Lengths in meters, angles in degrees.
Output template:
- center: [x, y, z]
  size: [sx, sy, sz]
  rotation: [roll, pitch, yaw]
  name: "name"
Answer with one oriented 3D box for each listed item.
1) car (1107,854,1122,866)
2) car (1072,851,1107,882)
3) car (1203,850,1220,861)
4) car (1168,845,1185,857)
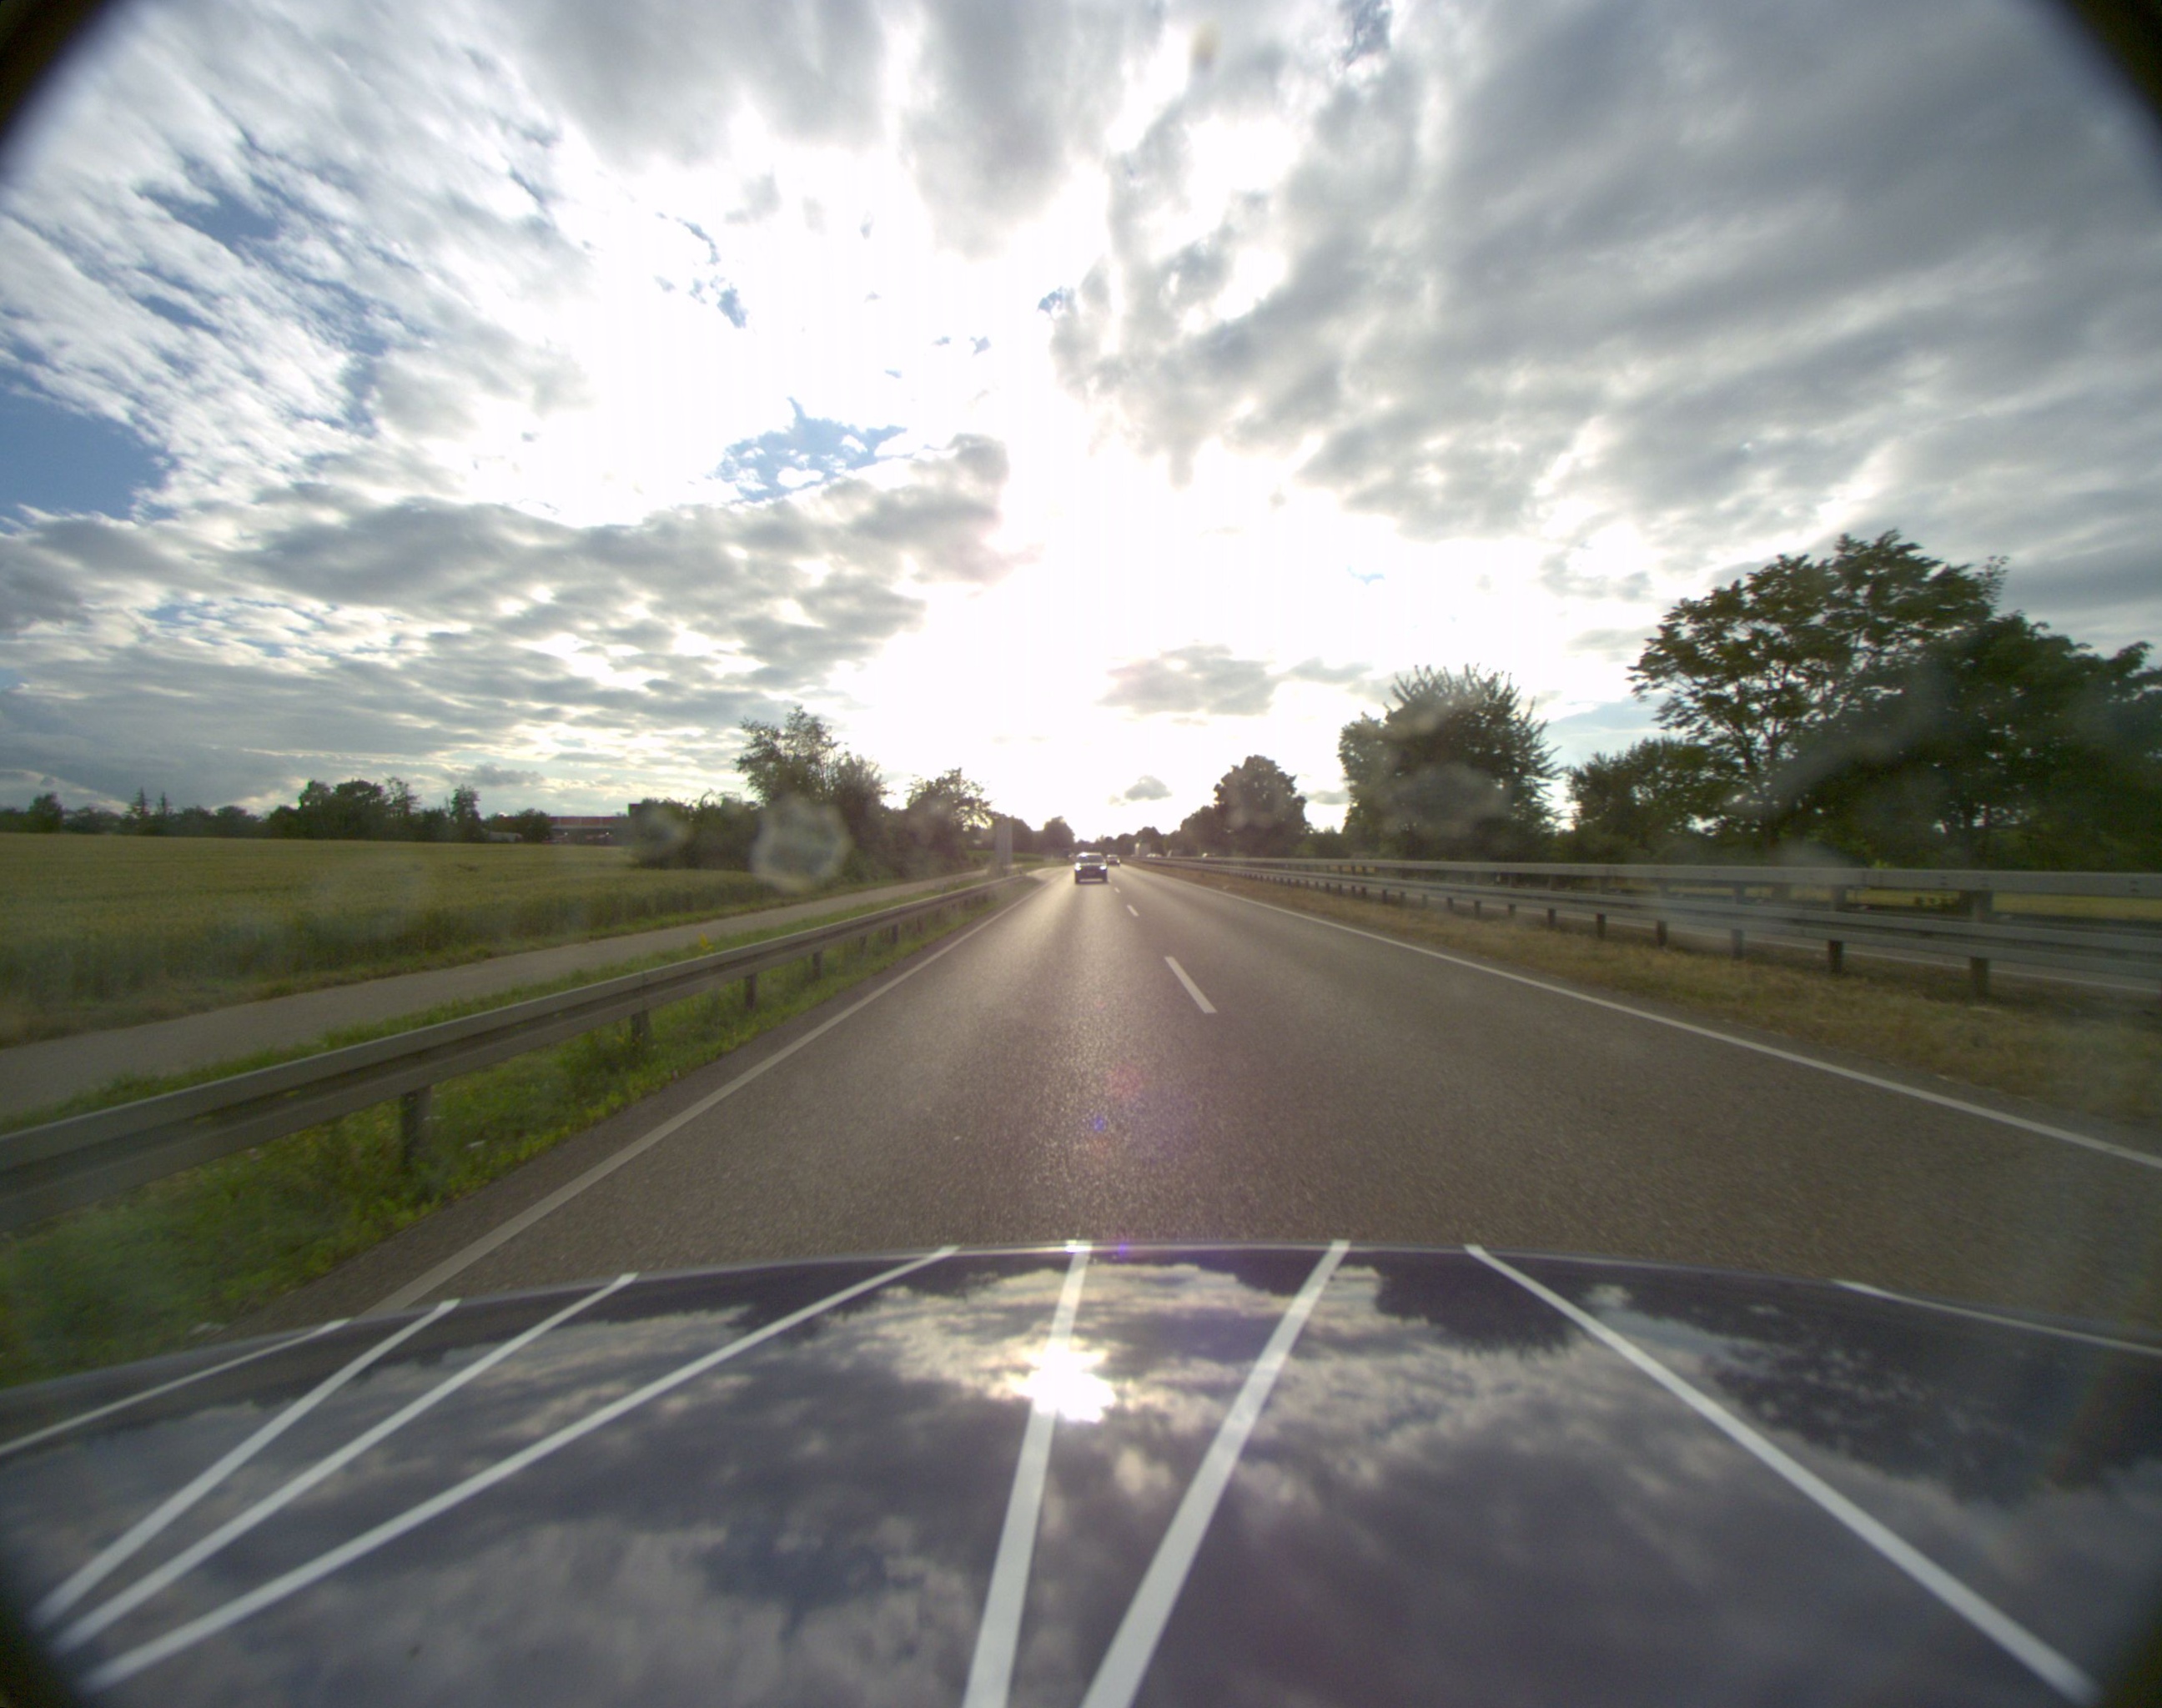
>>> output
- center: [4.264, 0.772, 97.700]
  size: [1.775, 1.389, 3.999]
  rotation: [-2, 1, 0]
  name: "car"
- center: [0.510, 0.662, 44.027]
  size: [1.863, 1.636, 4.000]
  rotation: [-2, 1, 1]
  name: "car"
- center: [17.146, 0.179, 100.117]
  size: [1.605, 1.371, 3.471]
  rotation: [-2, 1, 1]
  name: "car"
- center: [13.816, -0.432, 110.271]
  size: [1.937, 1.626, 4.376]
  rotation: [-1, 1, 1]
  name: "car"
